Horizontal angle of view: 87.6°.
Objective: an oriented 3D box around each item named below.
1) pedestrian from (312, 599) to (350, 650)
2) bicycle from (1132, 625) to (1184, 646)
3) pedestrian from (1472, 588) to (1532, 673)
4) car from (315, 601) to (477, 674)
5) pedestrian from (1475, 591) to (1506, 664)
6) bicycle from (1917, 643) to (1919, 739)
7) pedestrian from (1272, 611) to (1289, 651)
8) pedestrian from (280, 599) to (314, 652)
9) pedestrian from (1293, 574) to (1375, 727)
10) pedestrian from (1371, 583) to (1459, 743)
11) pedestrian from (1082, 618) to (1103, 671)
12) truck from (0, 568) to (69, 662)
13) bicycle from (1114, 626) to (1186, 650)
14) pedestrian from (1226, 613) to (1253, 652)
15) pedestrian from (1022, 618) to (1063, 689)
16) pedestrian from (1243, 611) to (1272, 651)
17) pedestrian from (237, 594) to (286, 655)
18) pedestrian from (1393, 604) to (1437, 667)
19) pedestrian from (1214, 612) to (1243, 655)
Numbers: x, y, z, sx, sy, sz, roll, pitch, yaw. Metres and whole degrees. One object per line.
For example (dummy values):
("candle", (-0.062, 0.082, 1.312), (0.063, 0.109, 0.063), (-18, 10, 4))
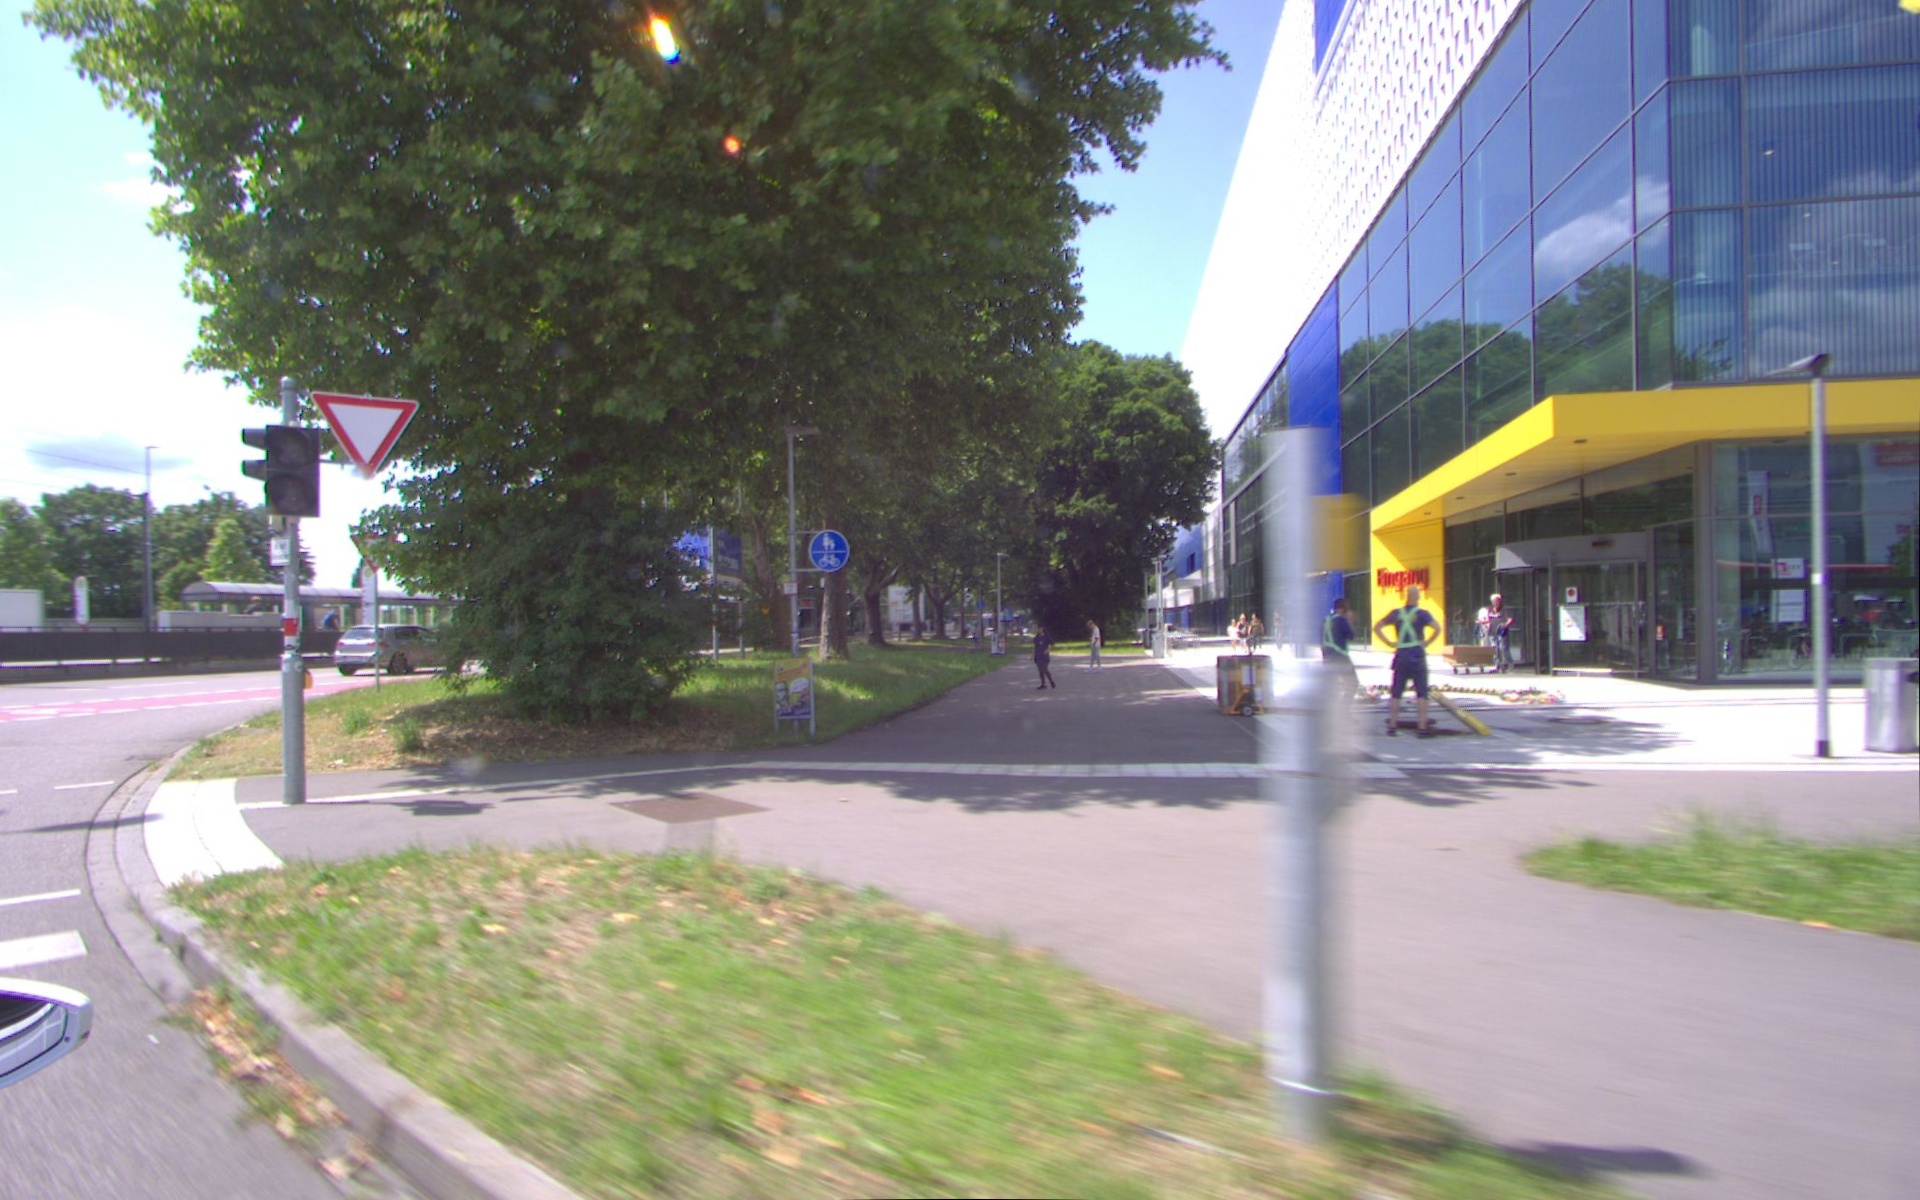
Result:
("pedestrian", (-22.299, 0.880, 35.504), (0.722, 1.778, 0.930), (0, -1, 9))
("bicycle", (11.163, 1.996, 56.625), (2.740, 1.136, 0.891), (-2, -1, 34))
("pedestrian", (12.517, 0.690, 23.121), (0.878, 1.910, 0.966), (0, 0, -40))
("car", (-16.820, 1.080, 30.137), (1.962, 2.015, 4.361), (-1, -1, 9))
("pedestrian", (14.217, 0.733, 26.848), (0.607, 1.910, 0.781), (0, 0, 19))
("bicycle", (11.680, 1.057, 10.896), (0.495, 1.122, 1.925), (-2, 0, -8))
("pedestrian", (13.401, 1.289, 41.885), (0.540, 1.685, 0.482), (0, 0, -34))
("pedestrian", (-23.785, 0.904, 35.933), (0.669, 1.896, 0.869), (0, 0, 41))
("pedestrian", (5.389, 0.722, 14.393), (0.958, 2.098, 1.008), (-2, -1, 24))
("pedestrian", (5.787, 0.774, 12.757), (0.958, 1.927, 1.008), (-1, 0, 25))
("pedestrian", (4.208, 1.404, 31.814), (0.582, 1.685, 0.719), (0, 0, 14))
("truck", (-44.450, 0.606, 41.419), (2.896, 4.157, 11.993), (0, -1, 11))
("bicycle", (10.361, 2.073, 54.746), (3.787, 1.191, 0.981), (-3, -1, 34))
("pedestrian", (12.035, 1.393, 43.120), (0.875, 1.685, 0.781), (0, 0, -31))
("pedestrian", (2.054, 1.331, 24.929), (0.712, 1.685, 0.588), (-3, 1, 41))
("pedestrian", (12.603, 1.321, 42.364), (0.875, 1.685, 0.781), (0, -1, -31))
("pedestrian", (-22.931, 0.800, 32.887), (0.859, 1.965, 0.994), (0, 0, 8))
("pedestrian", (12.404, 0.958, 27.307), (0.790, 1.685, 0.702), (-2, 0, -20))
("pedestrian", (10.851, 1.347, 40.463), (0.875, 1.685, 0.781), (0, 0, -30))
